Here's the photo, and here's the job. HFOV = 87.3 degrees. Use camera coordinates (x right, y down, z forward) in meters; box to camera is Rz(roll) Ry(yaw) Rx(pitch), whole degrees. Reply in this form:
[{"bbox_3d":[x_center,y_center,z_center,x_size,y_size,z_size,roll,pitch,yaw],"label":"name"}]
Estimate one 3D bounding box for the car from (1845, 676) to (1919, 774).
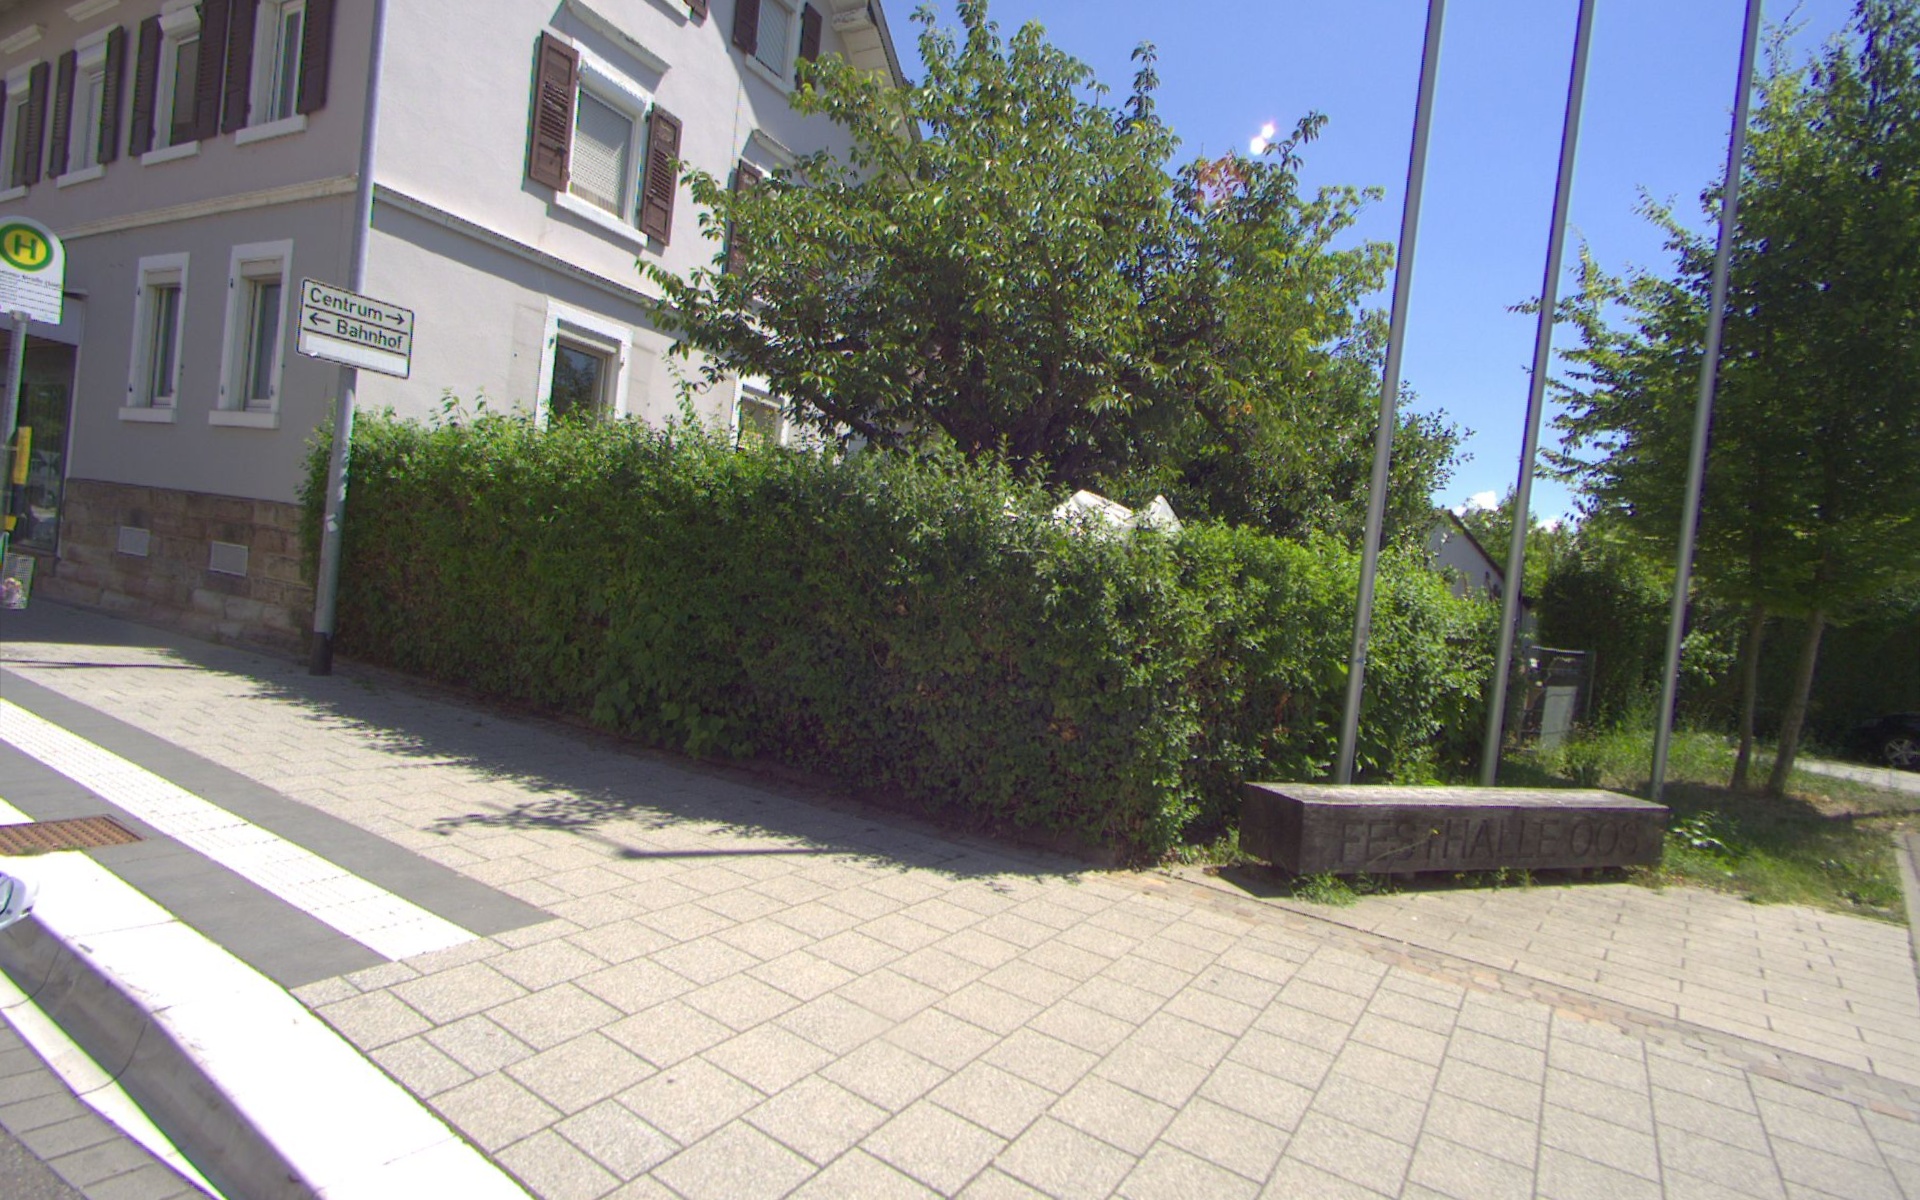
[{"bbox_3d":[16.715,2.220,15.605,1.852,1.459,3.974,6,1,-25],"label":"car"}]
